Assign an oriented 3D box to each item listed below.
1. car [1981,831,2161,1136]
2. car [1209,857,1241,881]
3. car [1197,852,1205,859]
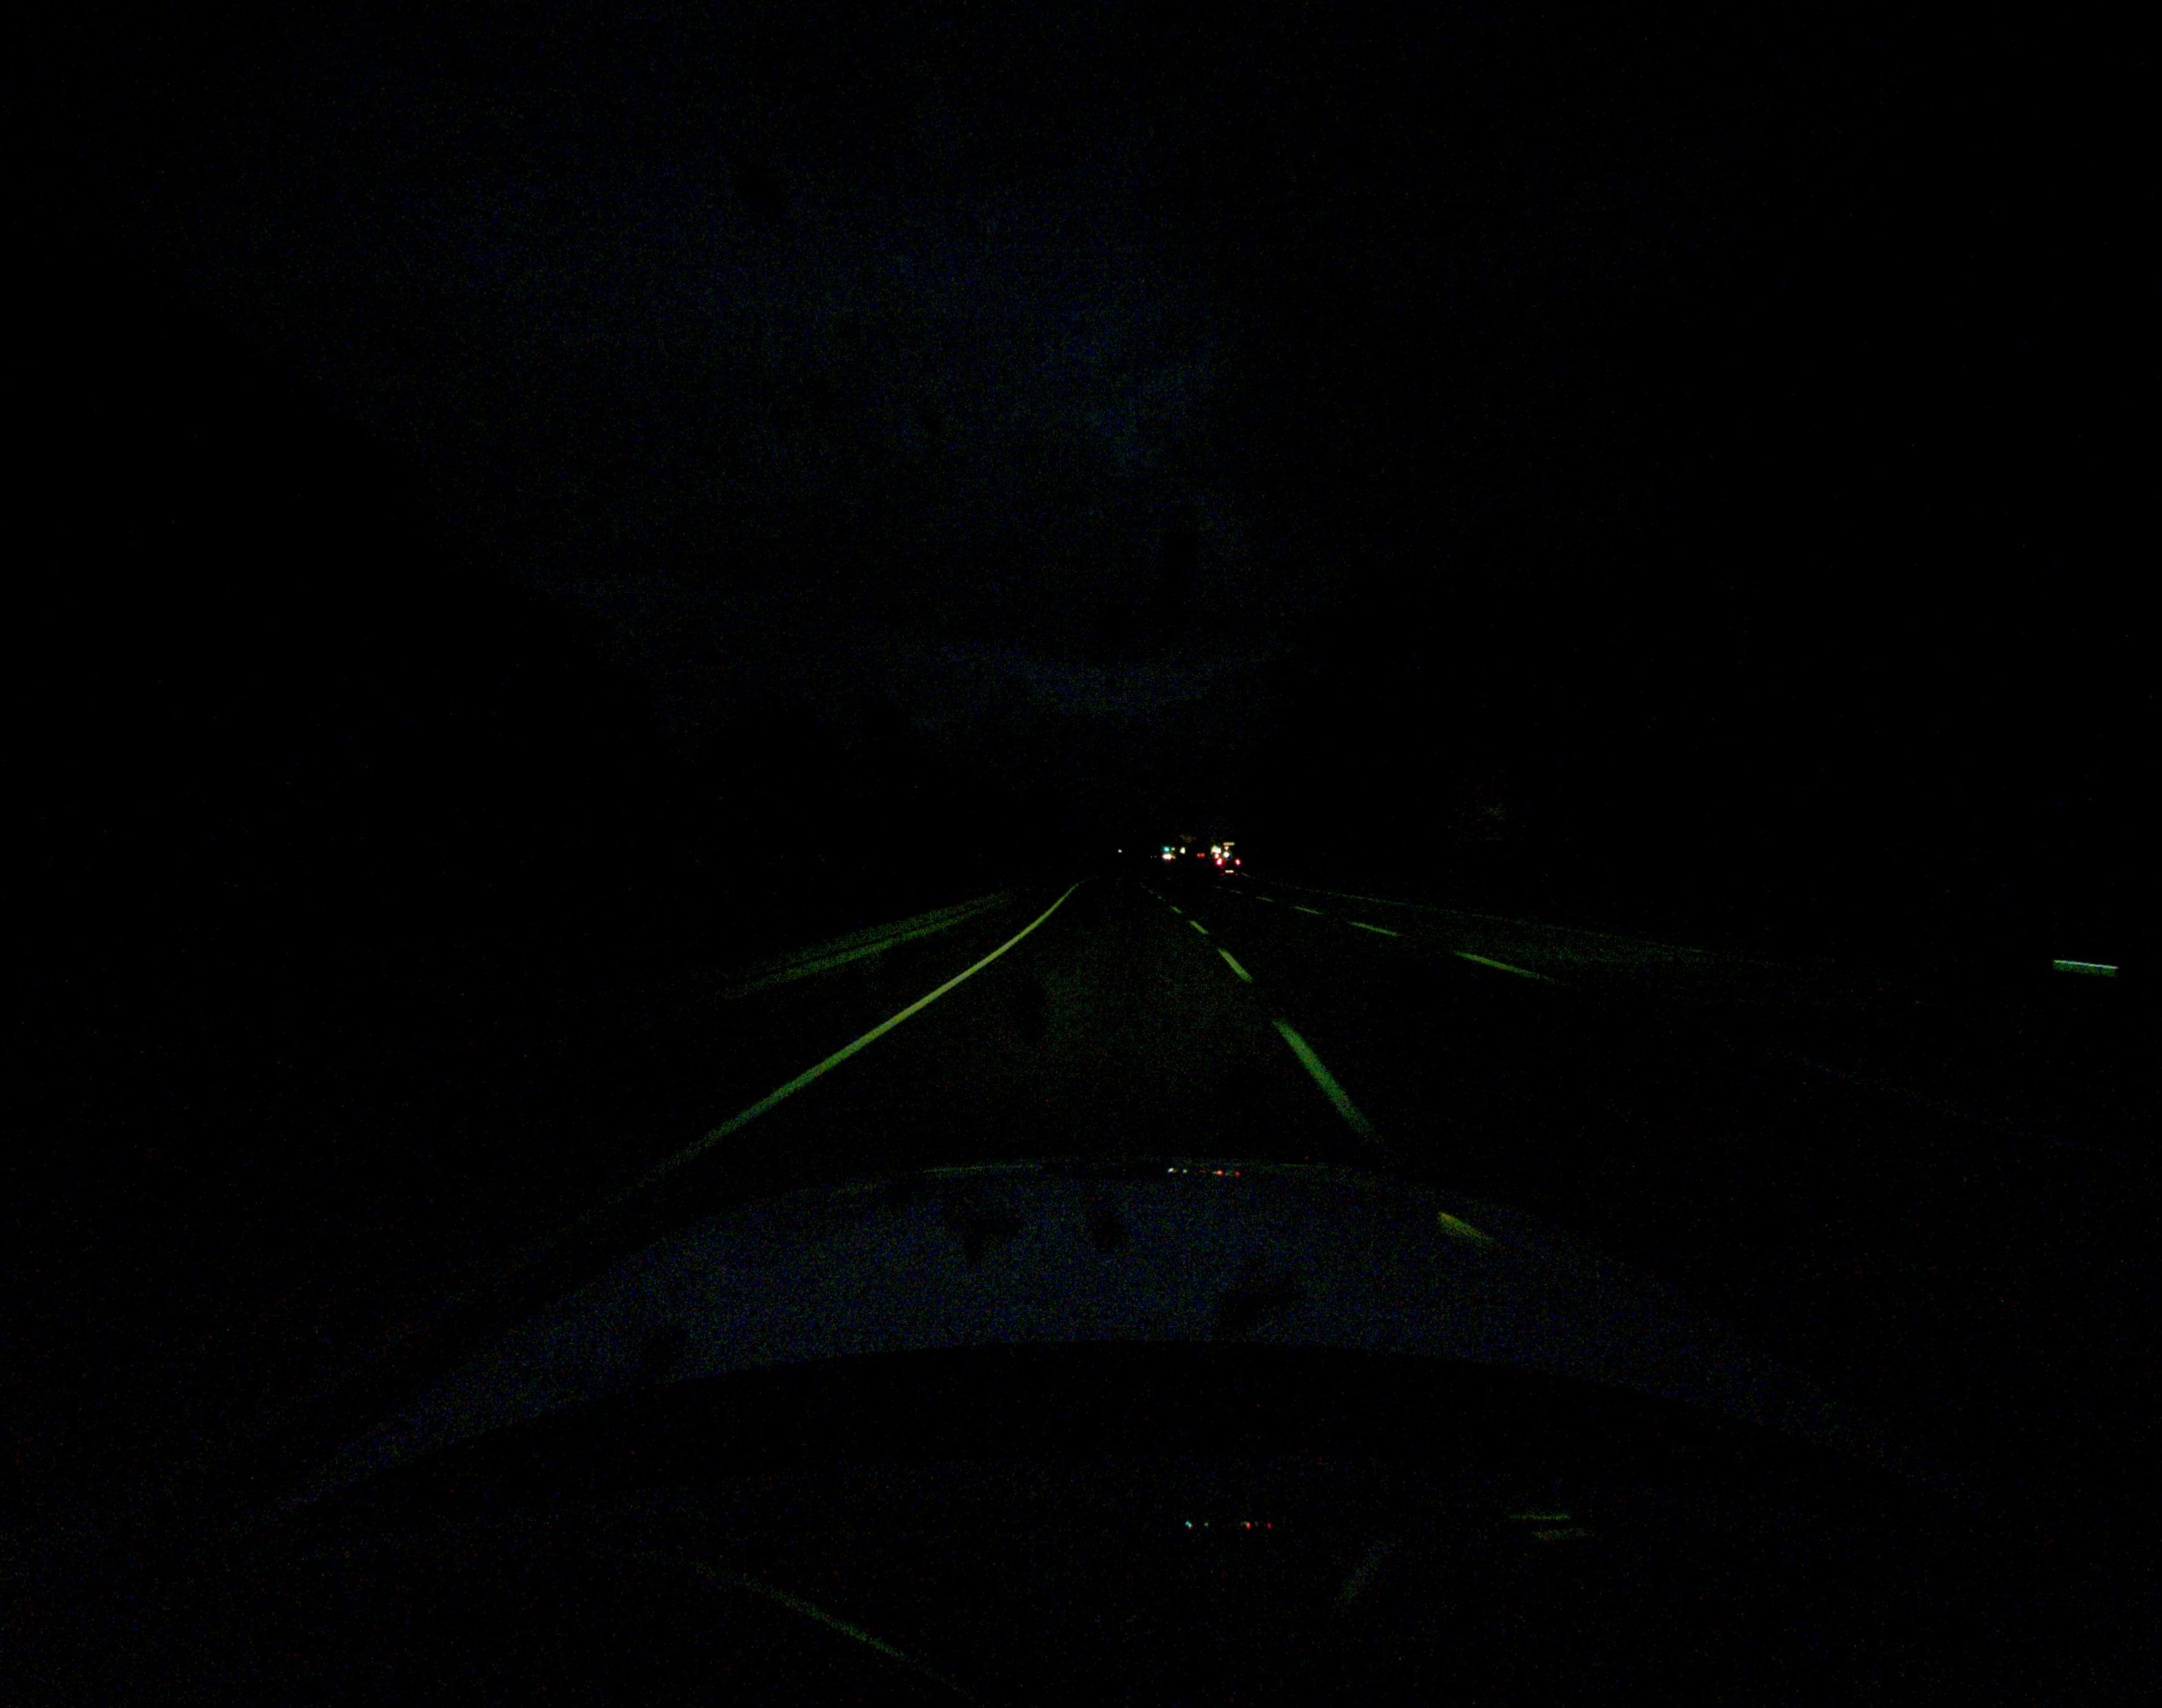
[{"bbox_3d":[6.584,0.665,2.885,1.893,1.620,4.560,-1,0,3],"label":"car"},{"bbox_3d":[9.355,0.979,53.226,1.744,1.453,4.440,-1,0,6],"label":"car"},{"bbox_3d":[35.798,0.507,242.636,1.983,1.750,4.008,-5,-2,7],"label":"car"}]
